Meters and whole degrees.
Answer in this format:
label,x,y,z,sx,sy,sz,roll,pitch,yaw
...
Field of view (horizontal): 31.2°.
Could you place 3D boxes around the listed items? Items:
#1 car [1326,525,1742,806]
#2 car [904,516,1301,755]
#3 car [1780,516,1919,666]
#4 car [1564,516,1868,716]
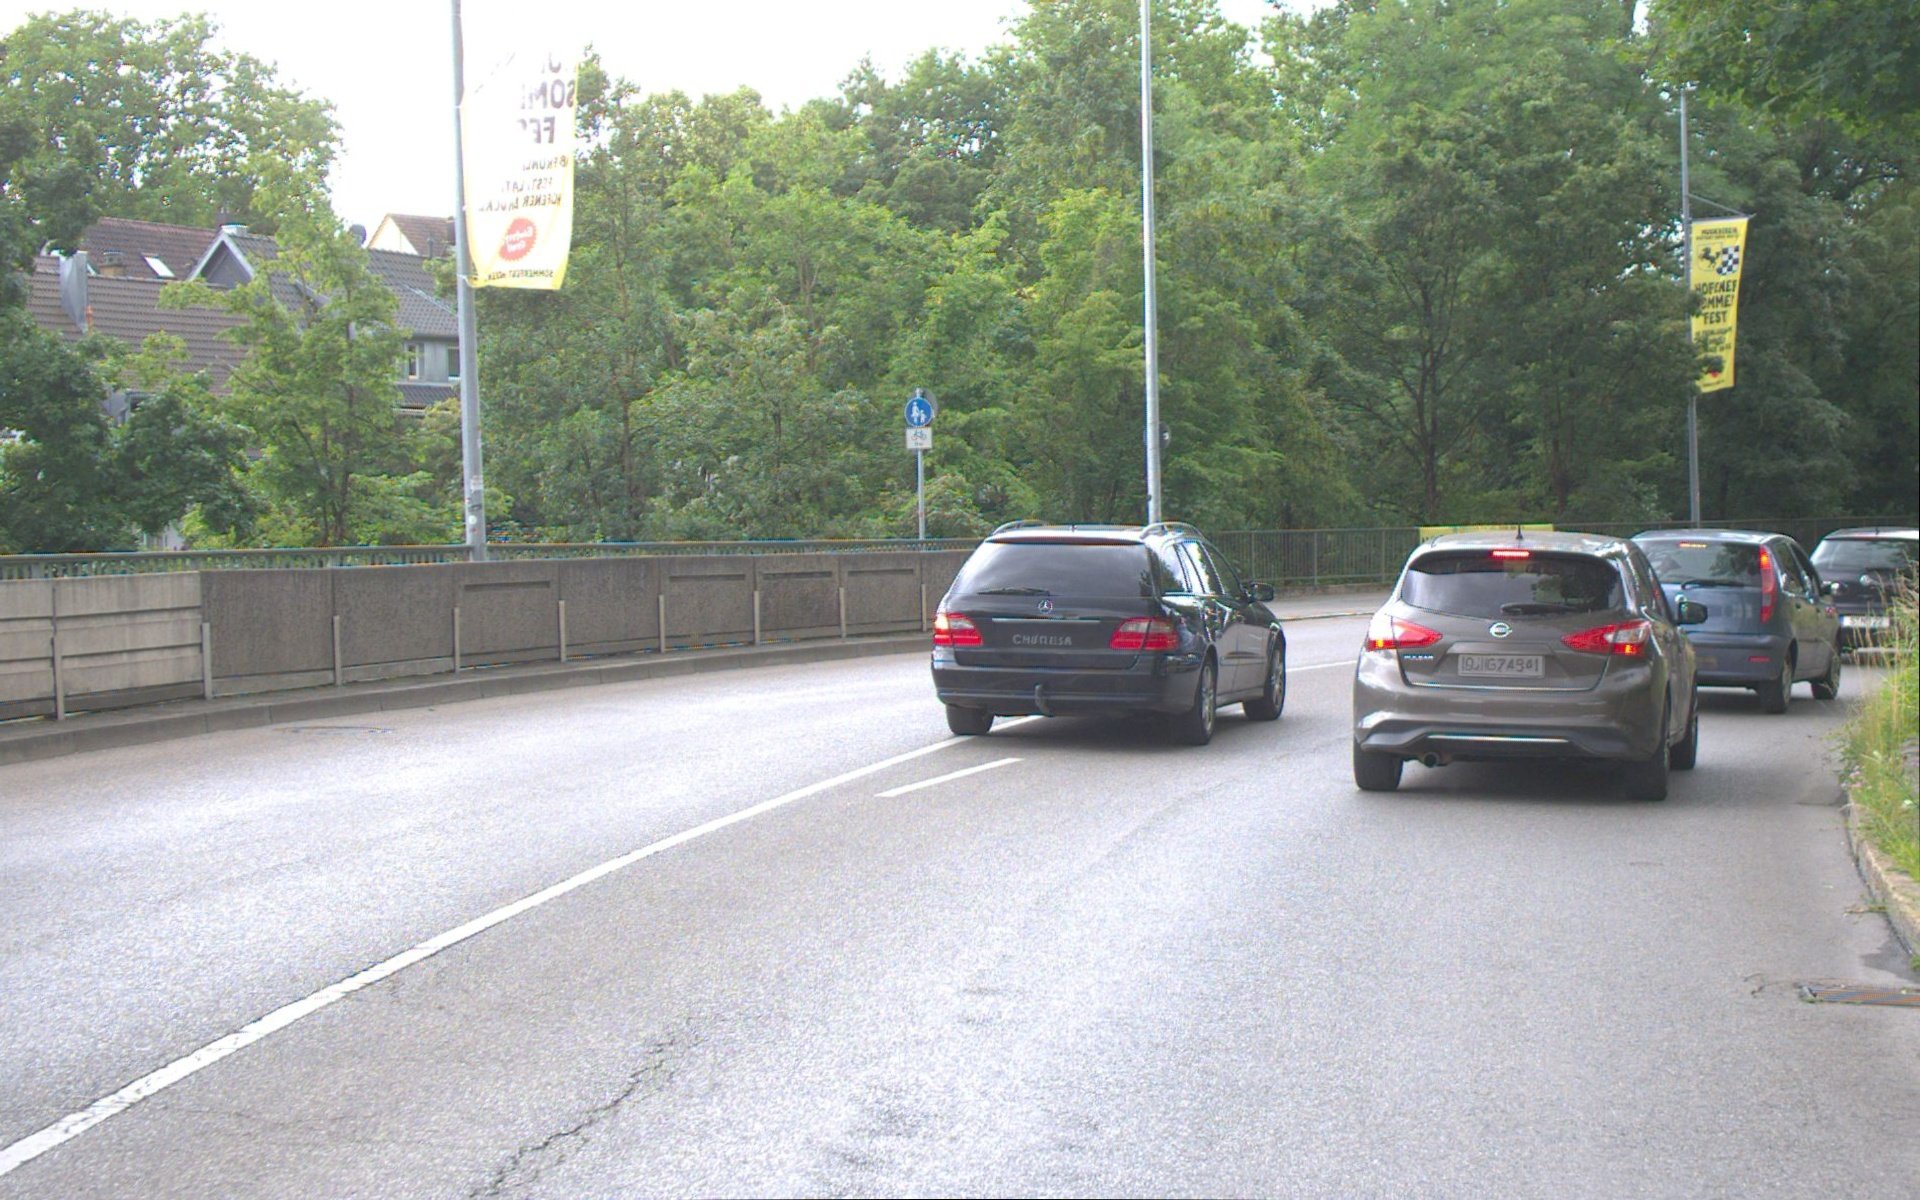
label,x,y,z,sx,sy,sz,roll,pitch,yaw
car,3.569,0.334,20.806,1.776,1.489,3.996,2,1,20
car,1.120,0.169,24.461,1.853,1.481,4.418,2,2,15
car,9.870,-0.119,37.359,1.579,1.533,3.997,-1,1,17
car,6.510,0.100,29.309,1.895,1.568,3.995,1,1,22
